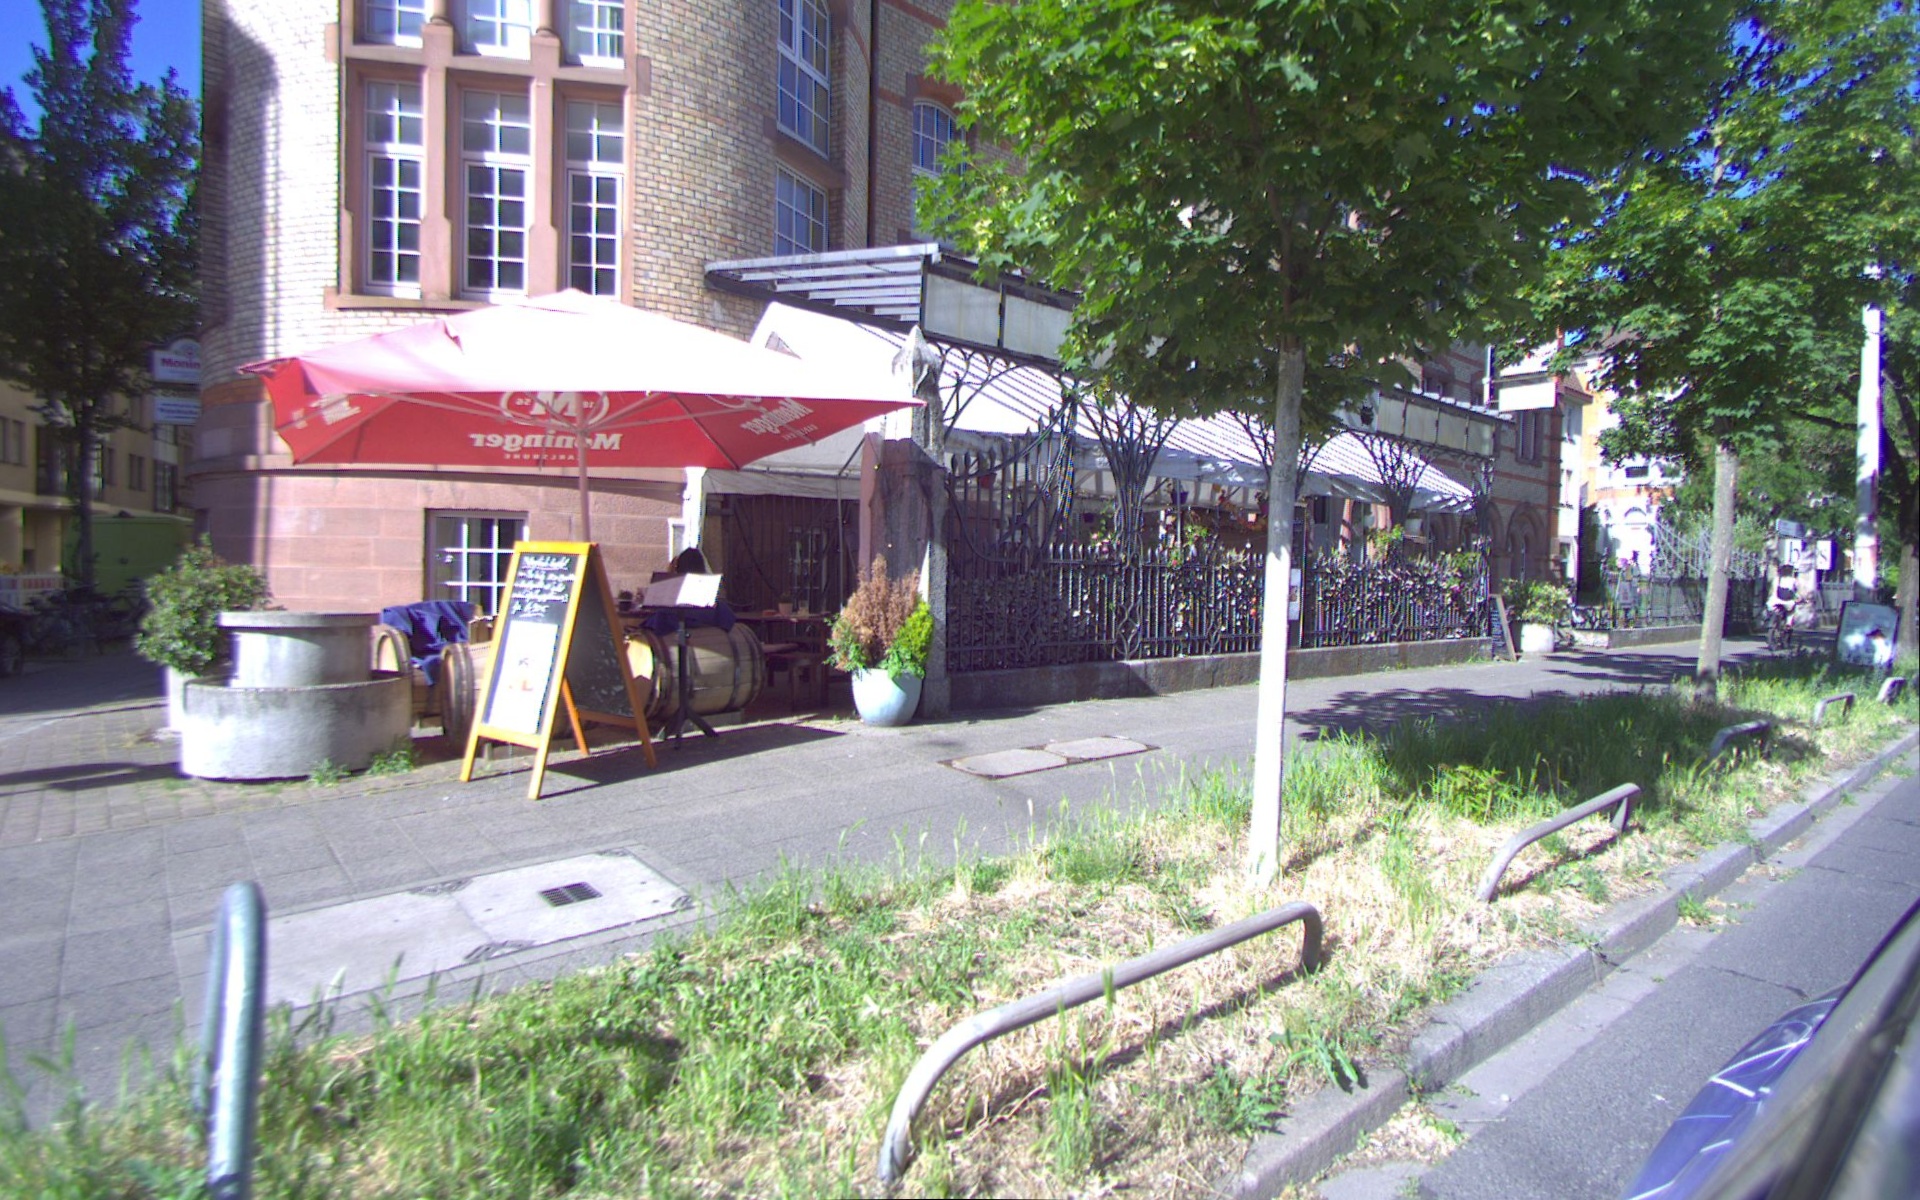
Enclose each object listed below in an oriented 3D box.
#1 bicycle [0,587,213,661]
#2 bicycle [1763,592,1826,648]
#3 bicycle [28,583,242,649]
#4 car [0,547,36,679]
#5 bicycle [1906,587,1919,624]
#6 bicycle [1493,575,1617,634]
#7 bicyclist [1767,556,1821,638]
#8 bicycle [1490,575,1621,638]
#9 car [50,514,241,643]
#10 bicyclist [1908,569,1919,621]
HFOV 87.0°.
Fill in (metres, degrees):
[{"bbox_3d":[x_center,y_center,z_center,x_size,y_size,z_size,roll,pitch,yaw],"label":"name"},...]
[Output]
[{"bbox_3d":[-13.500,0.355,15.851,2.714,1.040,1.061,-2,0,-26],"label":"bicycle"},{"bbox_3d":[17.106,0.382,20.726,2.060,1.040,0.686,-2,2,-42],"label":"bicycle"},{"bbox_3d":[-14.383,0.253,17.784,2.714,1.040,1.061,-2,0,-26],"label":"bicycle"},{"bbox_3d":[-11.642,0.226,10.541,1.758,1.541,3.965,-3,3,-24],"label":"car"},{"bbox_3d":[32.355,0.185,33.947,1.810,1.190,0.654,0,4,-40],"label":"bicycle"},{"bbox_3d":[12.695,0.070,21.646,2.196,1.193,0.676,2,2,44],"label":"bicycle"},{"bbox_3d":[16.975,-0.074,20.603,0.939,1.619,0.701,-1,2,-42],"label":"bicyclist"},{"bbox_3d":[12.057,0.097,20.561,2.196,1.193,0.676,2,2,44],"label":"bicycle"},{"bbox_3d":[-16.534,-0.419,20.850,2.093,2.331,4.814,0,1,-27],"label":"car"},{"bbox_3d":[32.384,-0.148,33.940,0.873,1.715,0.647,1,4,-40],"label":"bicyclist"}]
